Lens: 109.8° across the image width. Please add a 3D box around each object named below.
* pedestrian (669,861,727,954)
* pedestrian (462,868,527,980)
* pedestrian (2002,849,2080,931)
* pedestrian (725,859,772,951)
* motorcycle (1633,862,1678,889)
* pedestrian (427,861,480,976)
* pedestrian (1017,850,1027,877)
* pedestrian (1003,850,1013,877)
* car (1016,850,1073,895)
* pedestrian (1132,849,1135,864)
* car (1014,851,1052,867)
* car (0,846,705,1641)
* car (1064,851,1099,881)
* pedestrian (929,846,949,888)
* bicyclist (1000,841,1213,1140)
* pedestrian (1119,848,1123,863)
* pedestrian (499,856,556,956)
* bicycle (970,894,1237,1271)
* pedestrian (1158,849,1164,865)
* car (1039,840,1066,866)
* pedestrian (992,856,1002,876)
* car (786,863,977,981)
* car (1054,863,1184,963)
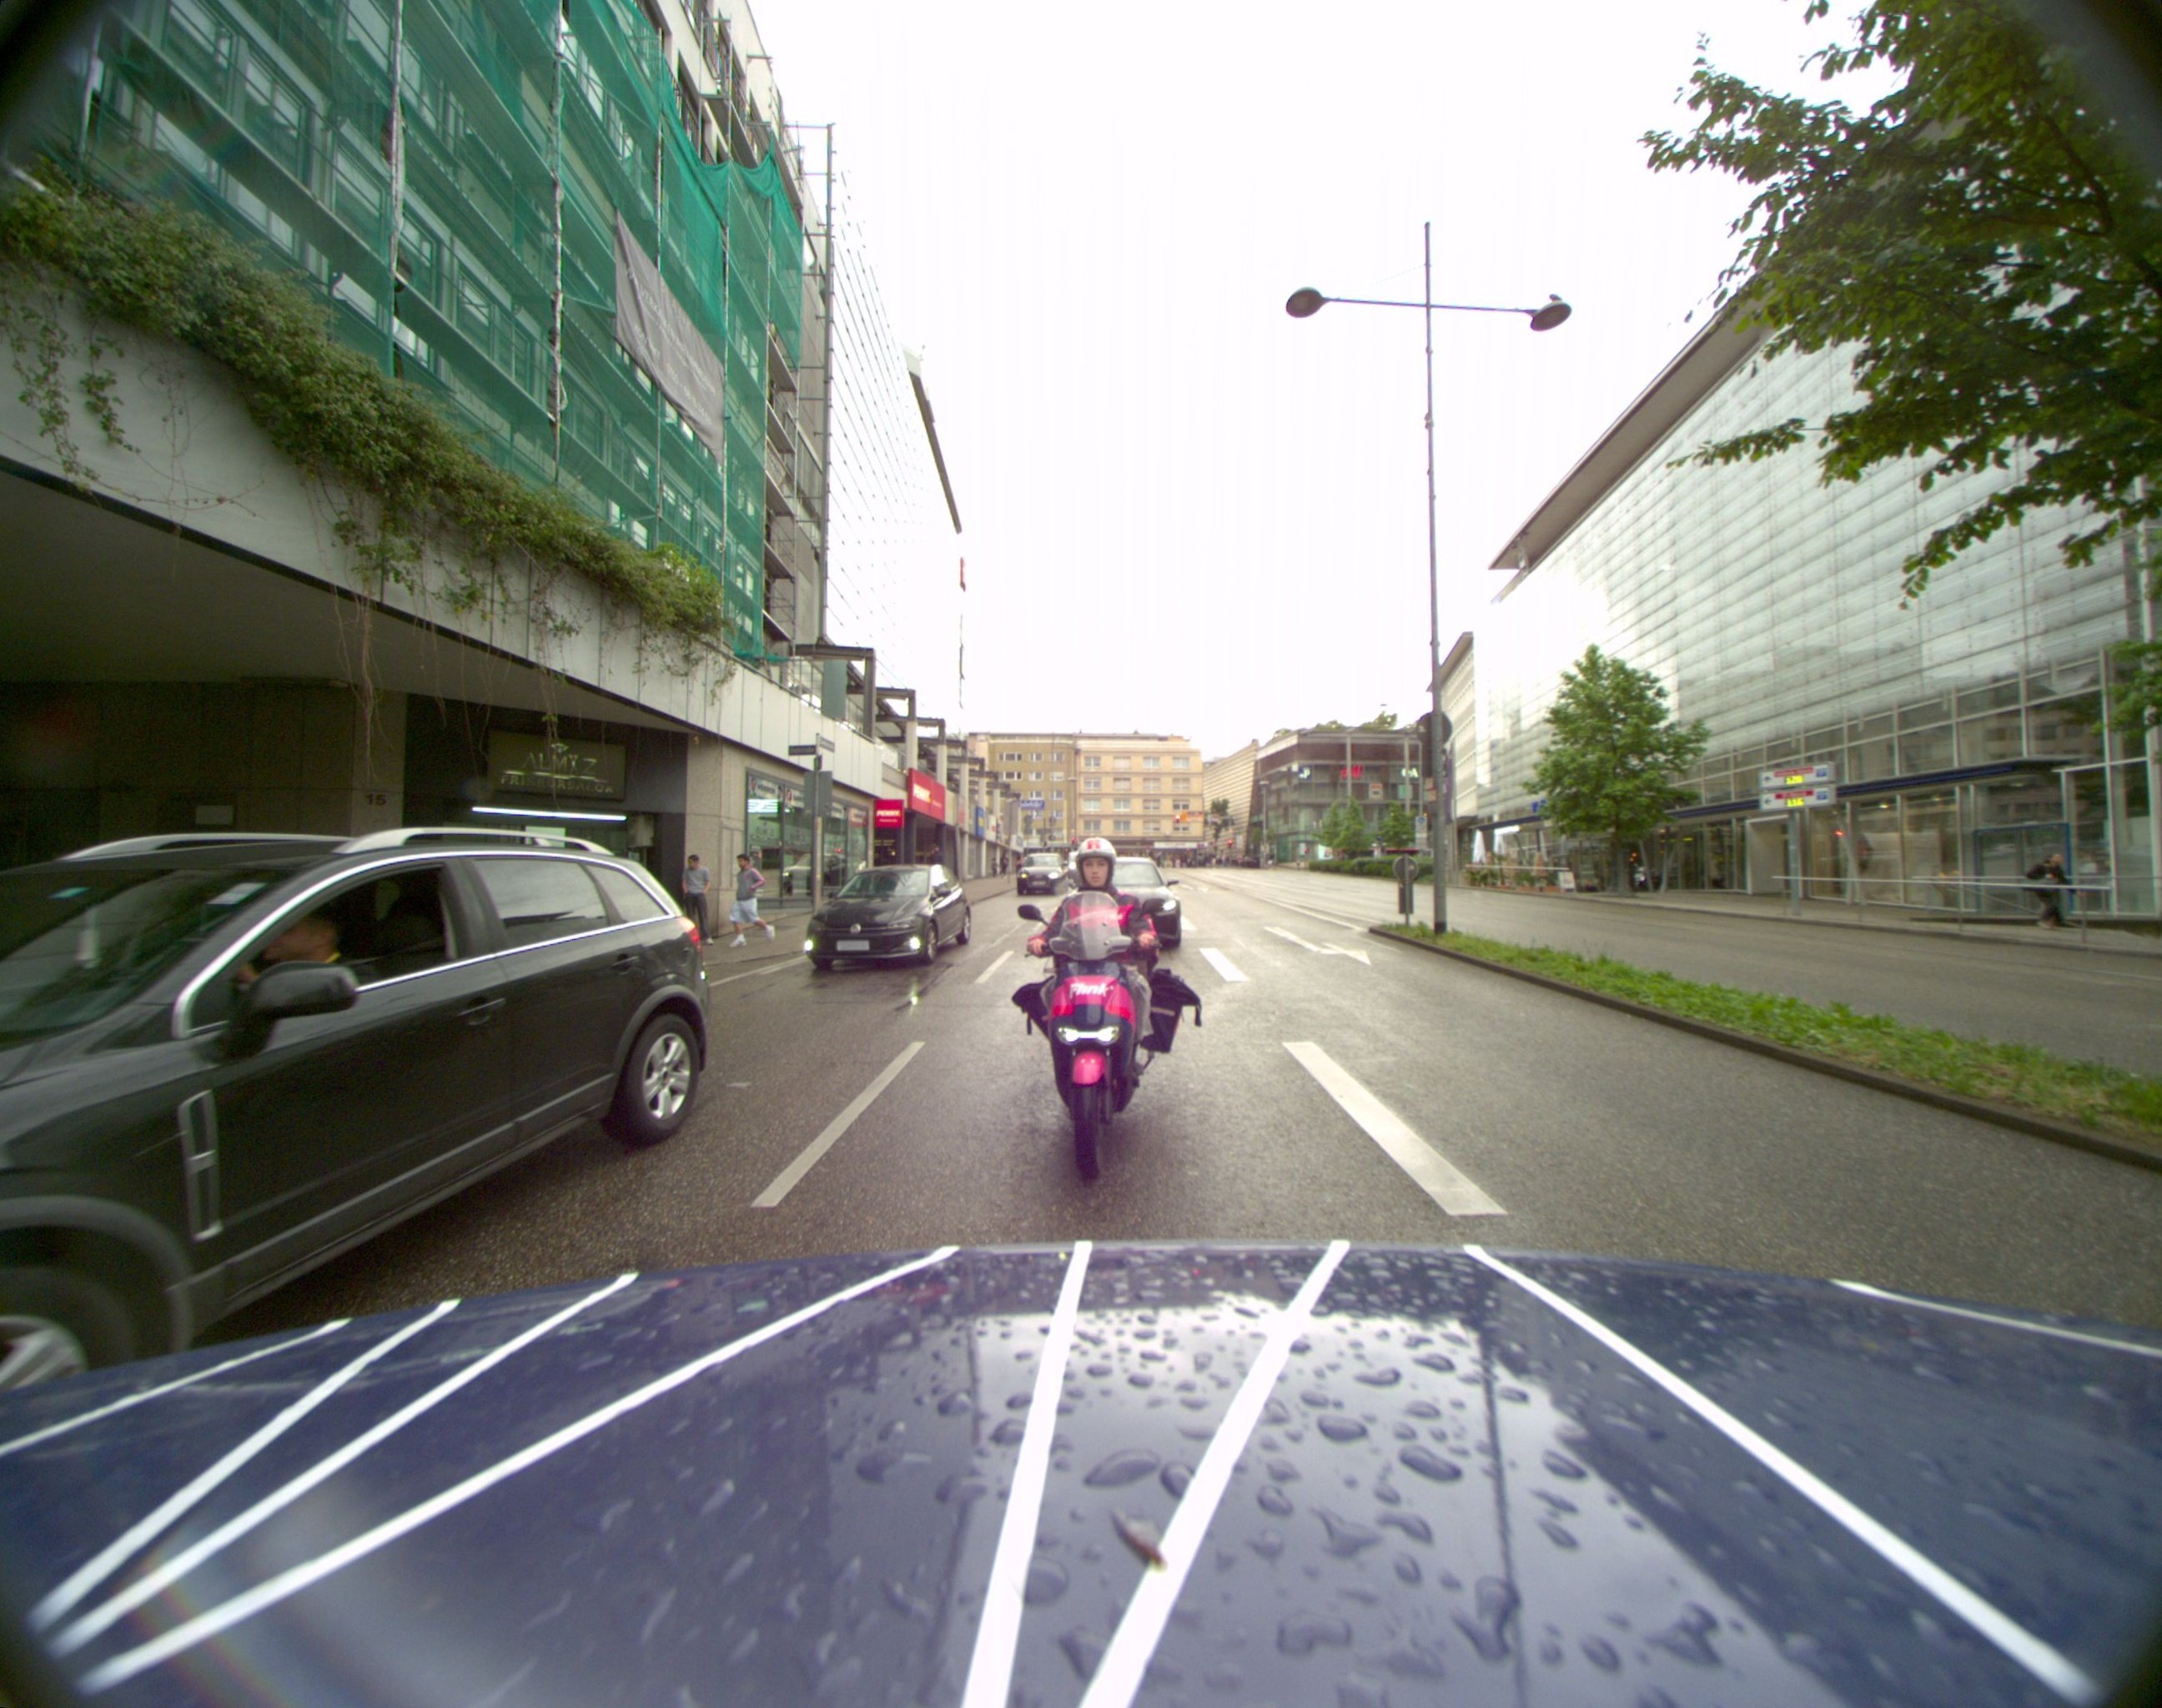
[{"bbox_3d":[-7.061,0.972,14.031,0.639,1.633,0.733,-2,2,-3],"label":"pedestrian"},{"bbox_3d":[-8.766,1.018,11.375,0.640,1.586,0.576,-3,2,-32],"label":"pedestrian"},{"bbox_3d":[19.793,0.732,15.684,0.635,1.628,0.790,-2,2,8],"label":"pedestrian"},{"bbox_3d":[-6.048,0.911,13.839,0.579,1.618,0.676,0,2,-4],"label":"pedestrian"},{"bbox_3d":[28.170,1.056,37.261,1.707,1.319,0.620,0,1,1],"label":"motorcycle"},{"bbox_3d":[-9.617,0.966,11.653,0.466,1.698,0.484,0,2,42],"label":"pedestrian"},{"bbox_3d":[-3.376,0.542,43.727,0.510,1.492,0.579,0,2,0],"label":"pedestrian"},{"bbox_3d":[-4.183,0.540,43.604,0.510,1.492,0.579,0,2,0],"label":"pedestrian"},{"bbox_3d":[-1.386,0.676,30.316,1.841,1.598,4.164,-2,1,2],"label":"car"},{"bbox_3d":[5.984,0.270,86.651,0.428,1.620,0.602,1,1,3],"label":"pedestrian"},{"bbox_3d":[-5.815,0.598,92.258,4.586,2.002,1.999,0,1,-6],"label":"car"},{"bbox_3d":[-3.270,0.897,2.596,1.764,1.755,4.164,-2,-1,1],"label":"car"},{"bbox_3d":[0.070,0.628,41.689,1.675,1.520,4.165,-2,-1,2],"label":"car"},{"bbox_3d":[-5.712,0.504,30.594,0.578,1.669,0.511,1,2,22],"label":"pedestrian"},{"bbox_3d":[0.140,0.710,4.382,1.063,1.534,0.825,-2,2,0],"label":"bicyclist"},{"bbox_3d":[4.455,0.176,85.018,0.428,1.620,0.602,1,1,5],"label":"pedestrian"},{"bbox_3d":[-10.441,0.941,14.333,0.771,1.805,0.745,2,2,44],"label":"pedestrian"},{"bbox_3d":[0.109,1.003,4.530,1.034,1.279,2.948,-2,1,1],"label":"bicycle"},{"bbox_3d":[9.114,0.358,86.364,0.626,1.764,0.689,-2,2,5],"label":"pedestrian"},{"bbox_3d":[-2.281,-0.117,61.629,1.605,2.002,3.401,-2,1,7],"label":"car"},{"bbox_3d":[-4.818,0.683,43.671,0.510,1.160,0.579,0,2,0],"label":"pedestrian"},{"bbox_3d":[-2.917,0.917,12.092,1.759,1.495,4.164,-2,-1,2],"label":"car"},{"bbox_3d":[0.658,0.916,13.479,1.890,1.392,4.164,-2,0,2],"label":"car"}]
